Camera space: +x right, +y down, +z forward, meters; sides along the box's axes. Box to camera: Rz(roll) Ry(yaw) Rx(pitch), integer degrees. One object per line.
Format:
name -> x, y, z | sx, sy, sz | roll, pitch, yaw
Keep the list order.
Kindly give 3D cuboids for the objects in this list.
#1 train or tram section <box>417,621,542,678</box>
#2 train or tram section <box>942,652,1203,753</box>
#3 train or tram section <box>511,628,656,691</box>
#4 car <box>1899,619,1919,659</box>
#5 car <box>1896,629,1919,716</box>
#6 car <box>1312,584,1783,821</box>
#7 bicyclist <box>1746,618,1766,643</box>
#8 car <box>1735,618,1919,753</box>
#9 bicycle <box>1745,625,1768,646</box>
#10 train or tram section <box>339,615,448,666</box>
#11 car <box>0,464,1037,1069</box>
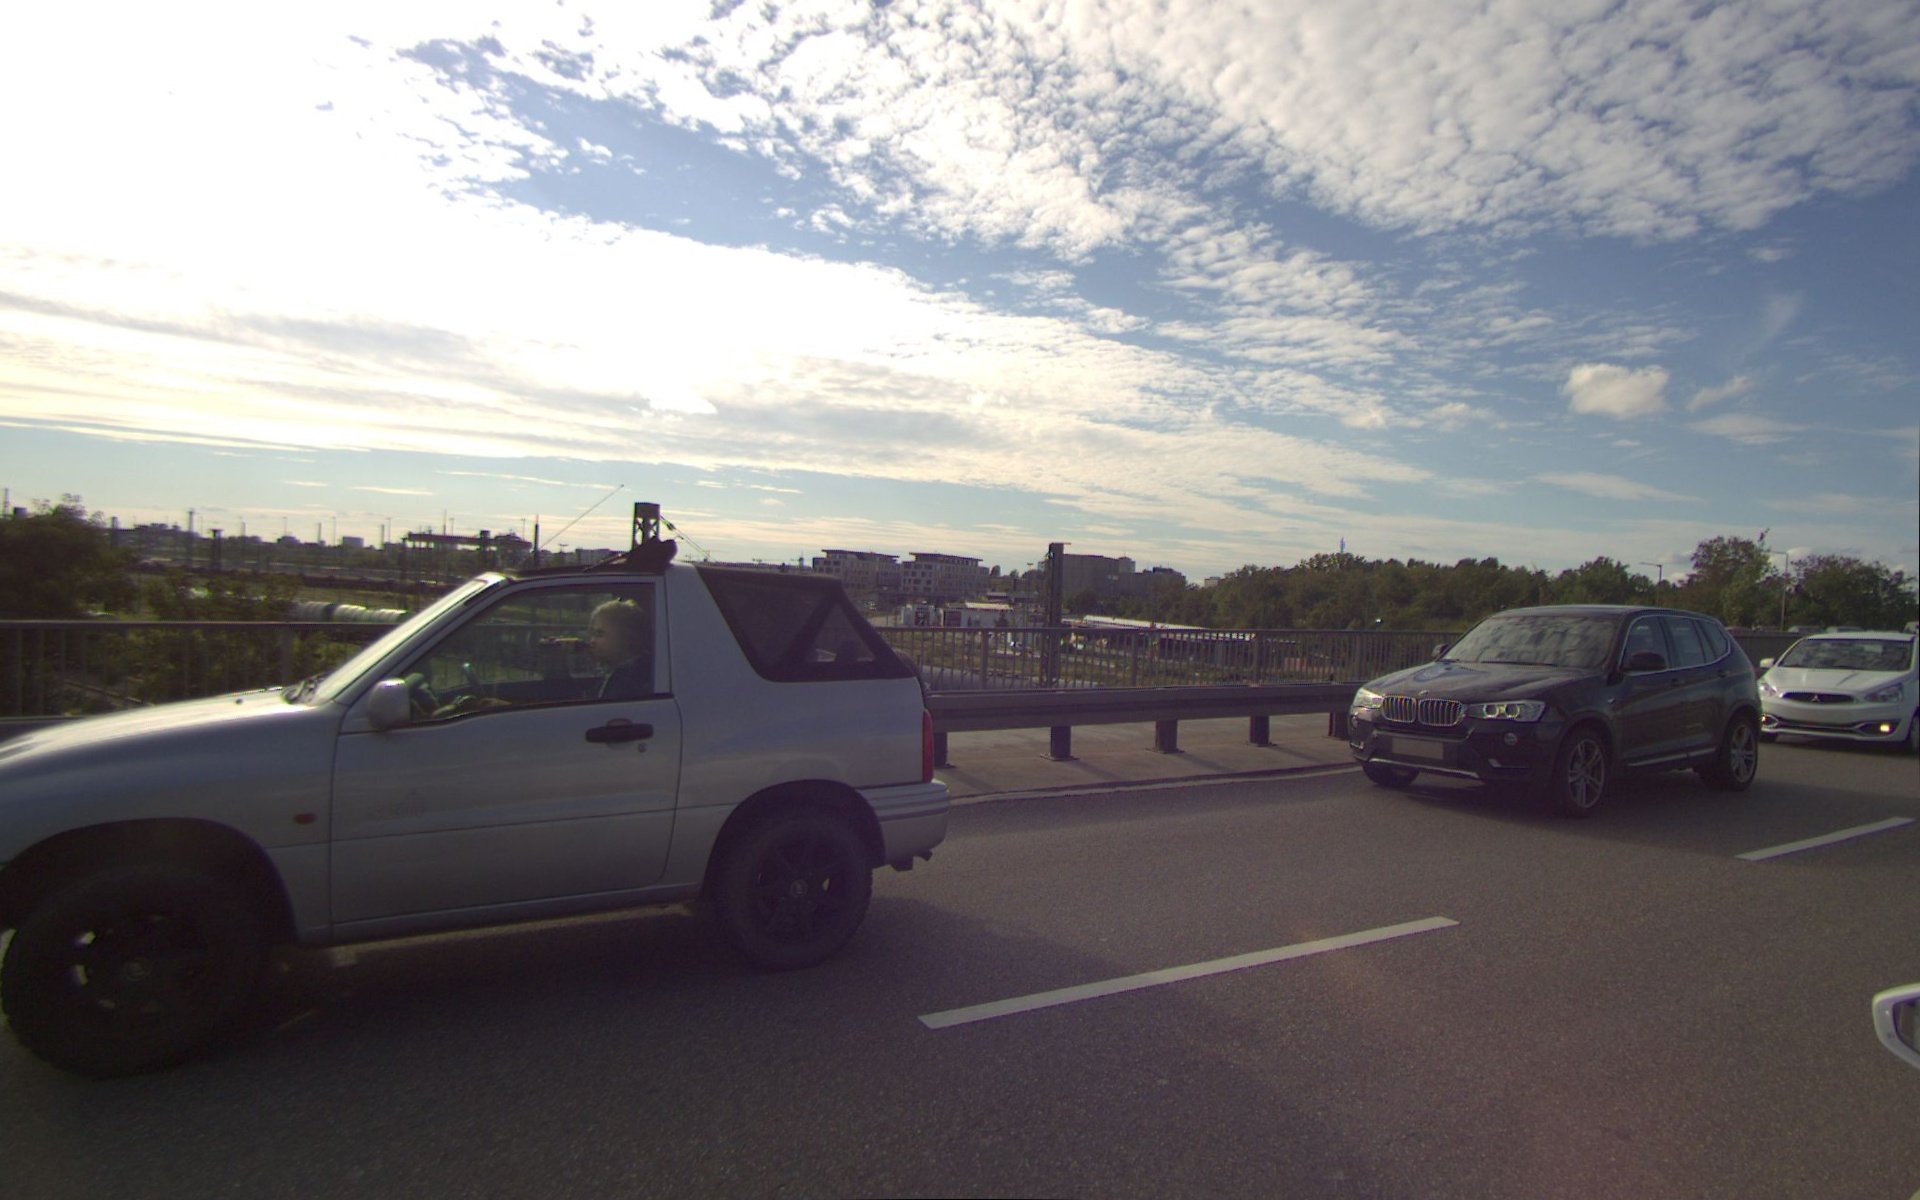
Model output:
train or tram section -> -47.803, 4.756, 99.515 | 16.465, 4.775, 3.088 | 1, -1, 34
train or tram section -> 6.496, 6.043, 61.986 | 16.470, 4.775, 3.087 | 1, -1, 35
train or tram section -> -34.091, 5.165, 90.350 | 16.465, 4.775, 3.088 | 1, -1, 34
car -> 47.884, 1.920, 49.348 | 1.982, 1.928, 4.849 | 1, -1, 37
car -> 18.459, 1.300, 18.045 | 4.287, 1.476, 1.799 | 2, -1, -38
car -> 5.485, 0.801, 9.191 | 4.579, 1.688, 1.859 | 2, -1, -33
bicyclist -> 54.409, 2.060, 68.643 | 0.754, 1.682, 1.120 | 2, -1, 23
car -> 12.166, 1.063, 13.587 | 3.885, 1.565, 1.671 | 2, -1, -36
bicycle -> 54.373, 2.417, 68.592 | 0.752, 1.349, 1.915 | 2, -1, 24
train or tram section -> -61.431, 4.259, 108.575 | 16.465, 4.775, 3.088 | 1, -1, 34
car -> -1.740, 0.531, 4.485 | 3.788, 1.769, 1.767 | 2, -1, -27
